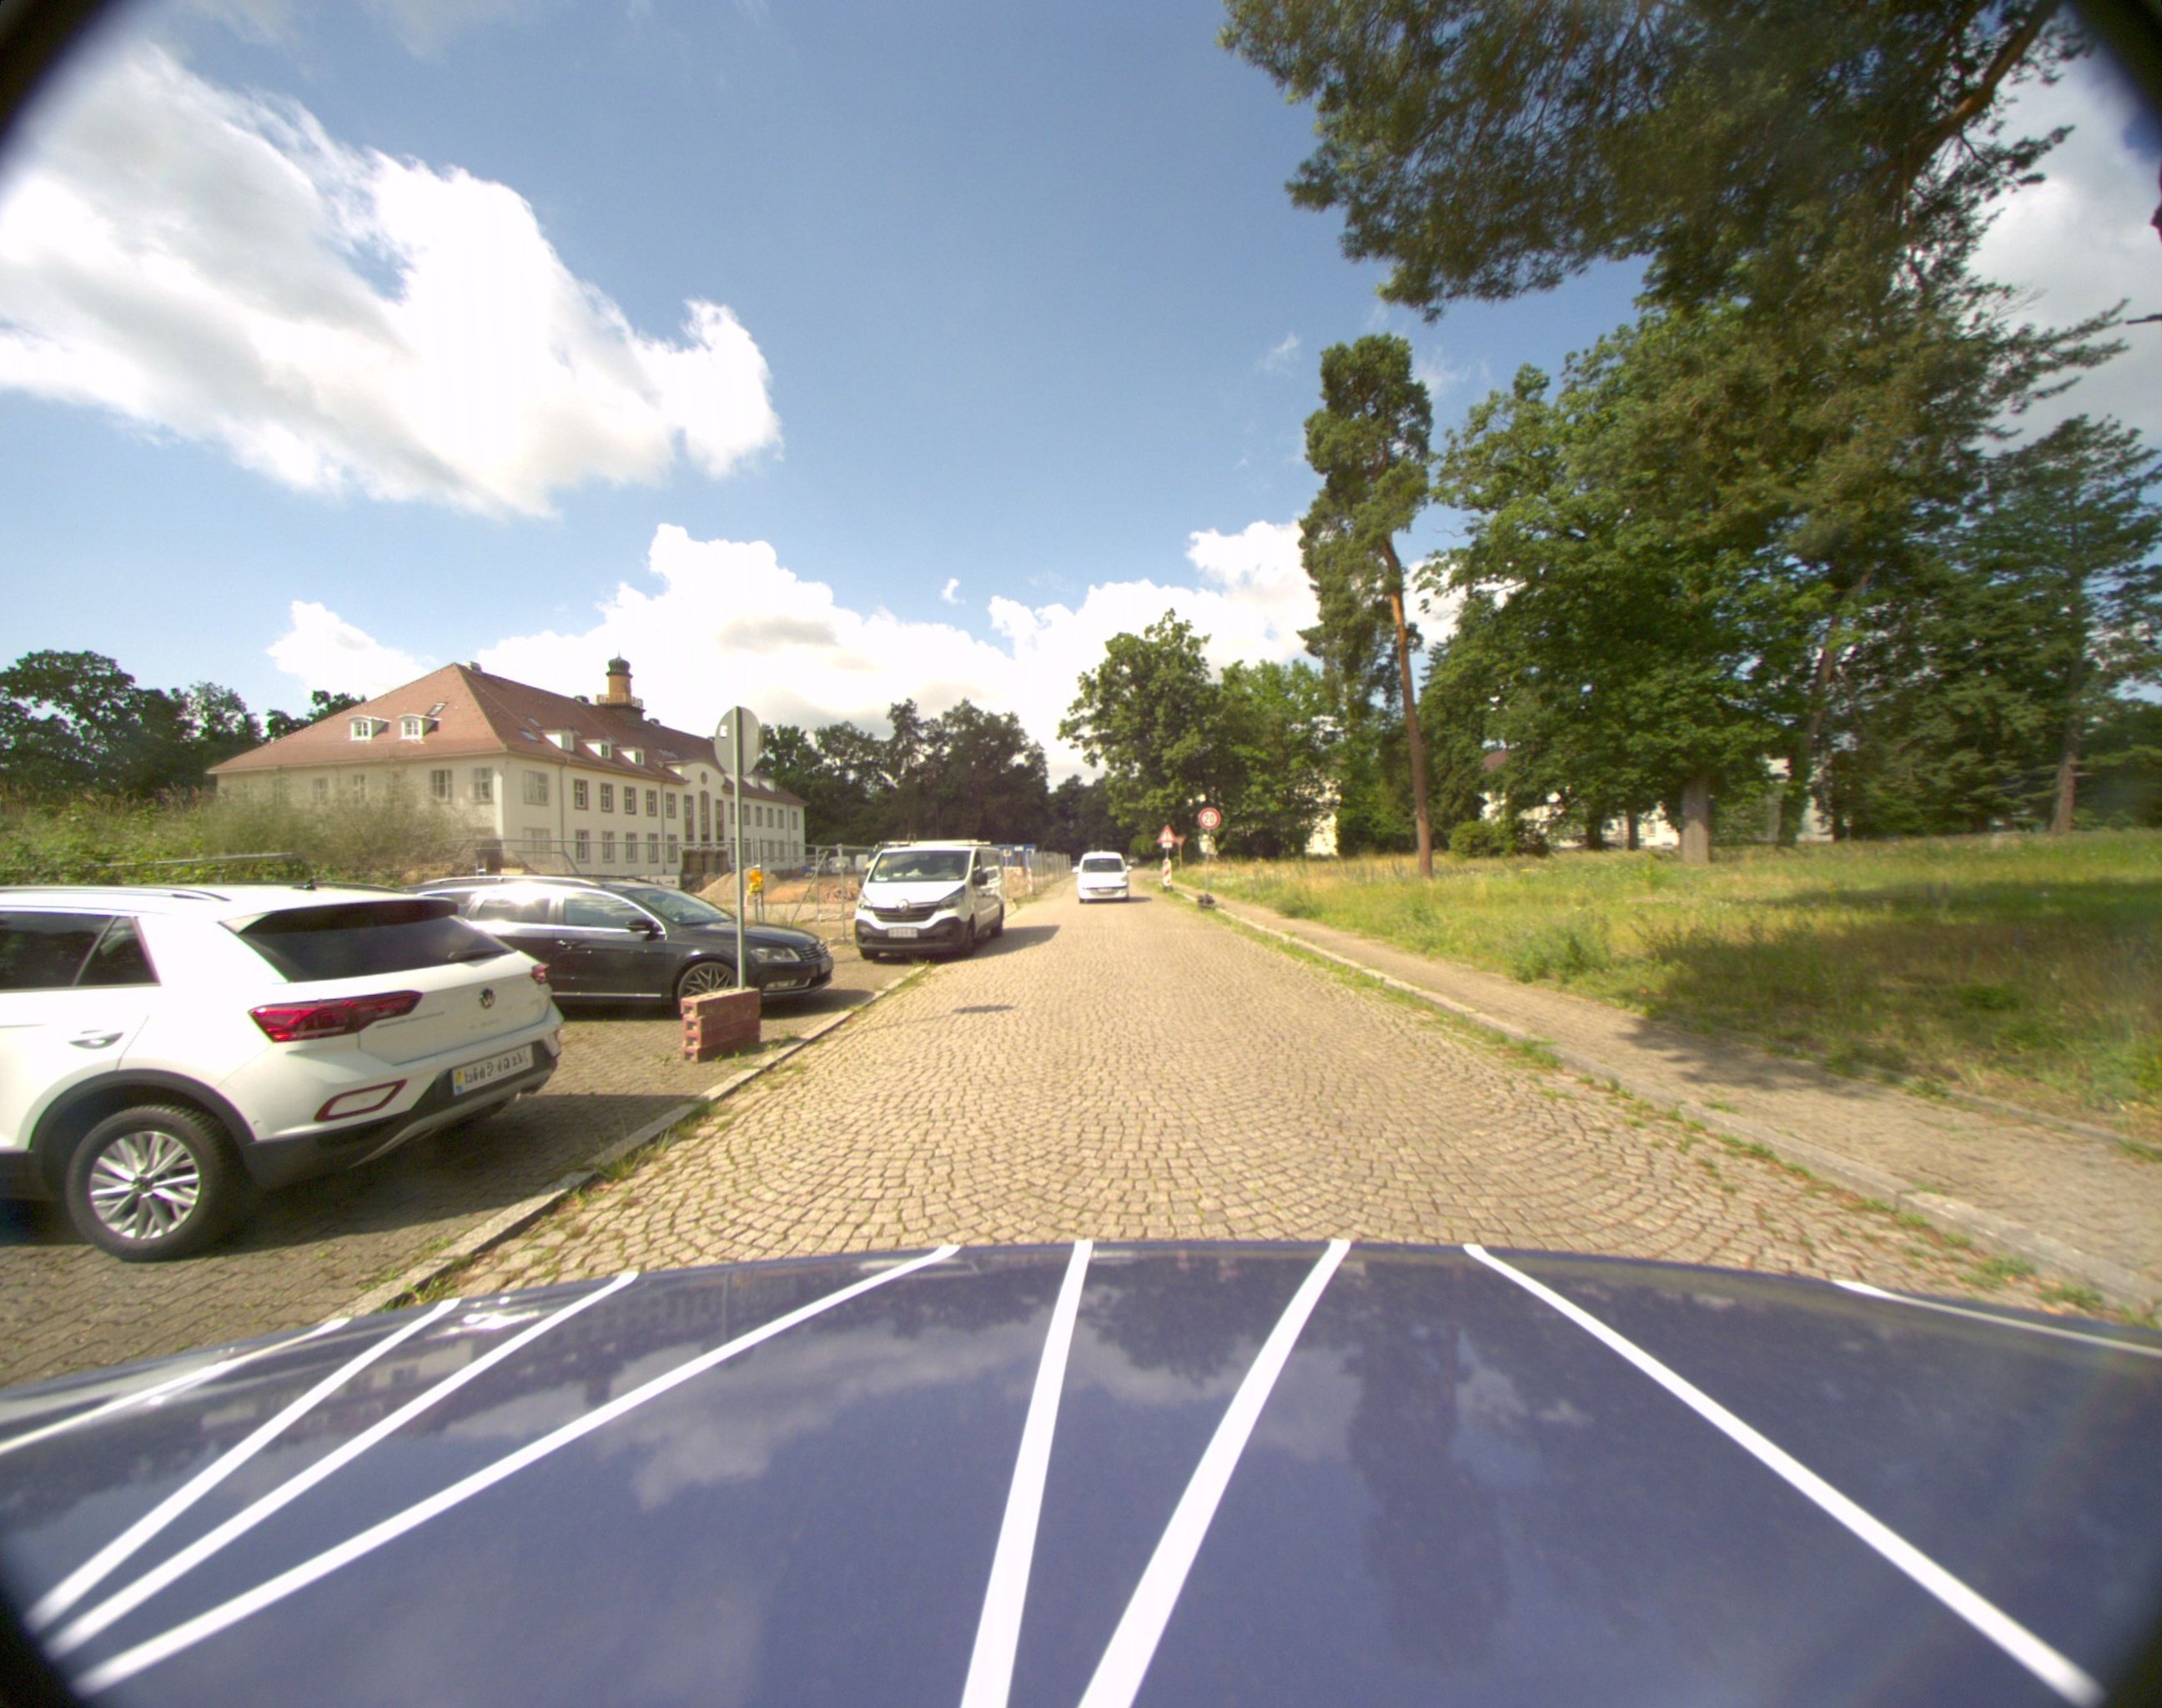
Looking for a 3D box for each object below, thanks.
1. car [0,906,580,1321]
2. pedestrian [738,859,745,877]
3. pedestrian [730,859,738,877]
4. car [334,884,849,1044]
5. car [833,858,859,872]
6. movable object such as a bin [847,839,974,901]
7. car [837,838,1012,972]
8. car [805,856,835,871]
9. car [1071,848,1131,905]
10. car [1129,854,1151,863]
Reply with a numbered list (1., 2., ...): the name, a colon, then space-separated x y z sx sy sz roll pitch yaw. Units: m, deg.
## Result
1. car: -5.115 1.077 3.819 3.997 1.498 1.746 0 0 -1
2. pedestrian: -34.614 1.394 77.504 0.491 1.777 0.506 -2 0 -2
3. pedestrian: -34.749 1.403 76.049 0.490 1.777 0.507 -2 1 24
4. car: -5.052 1.107 8.363 4.466 1.466 1.745 0 0 -3
5. car: -29.520 1.319 95.606 1.802 1.674 4.040 -1 0 2
6. movable object such as a bin: -7.357 0.673 33.461 2.144 2.507 5.667 -1 -1 30
7. car: -2.687 0.777 14.598 1.918 2.041 5.679 -1 0 2
8. car: -32.817 1.200 95.580 1.884 1.718 4.708 -1 0 2
9. car: 0.645 0.810 27.894 1.839 1.857 4.830 -2 -1 -2
10. car: 11.040 0.790 142.591 4.083 1.634 1.767 -1 1 1
